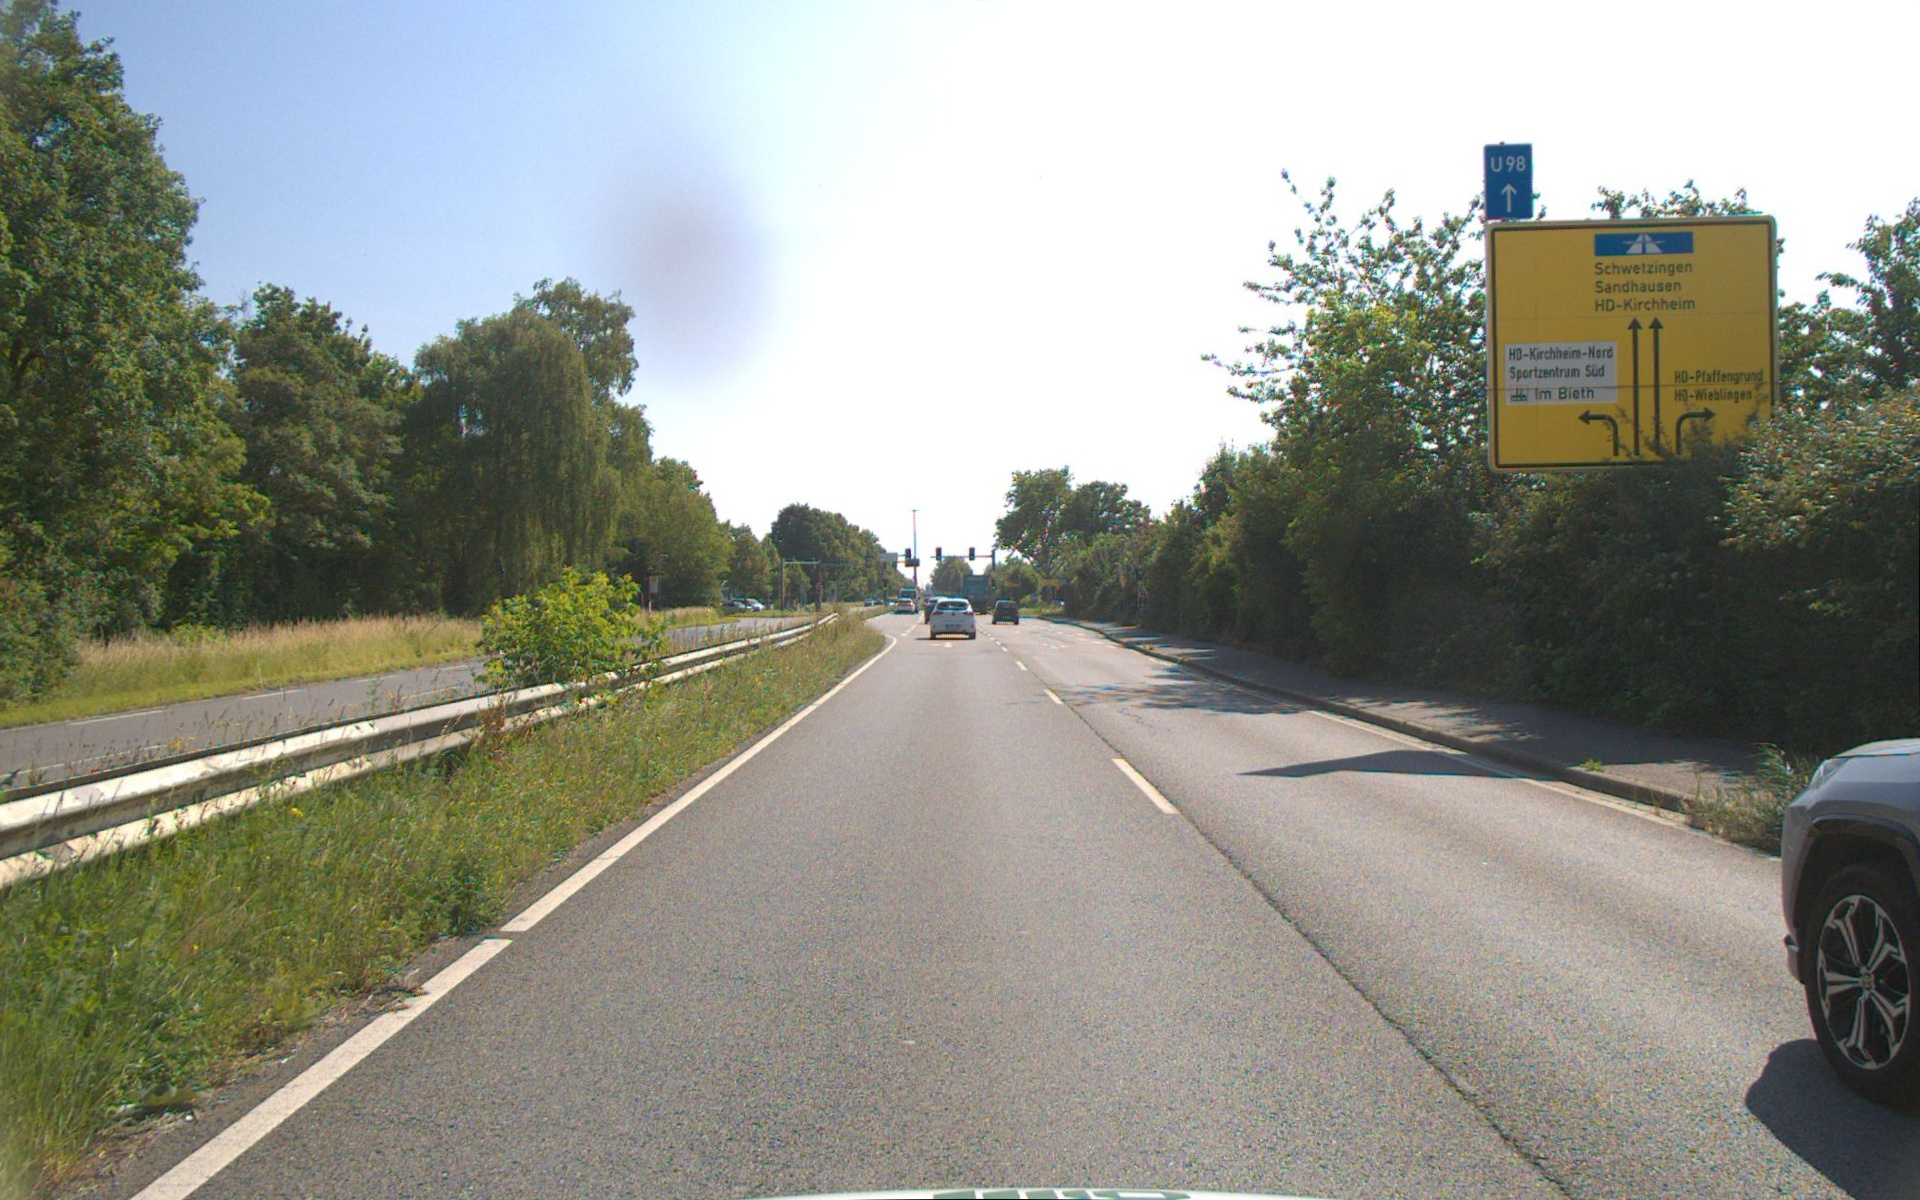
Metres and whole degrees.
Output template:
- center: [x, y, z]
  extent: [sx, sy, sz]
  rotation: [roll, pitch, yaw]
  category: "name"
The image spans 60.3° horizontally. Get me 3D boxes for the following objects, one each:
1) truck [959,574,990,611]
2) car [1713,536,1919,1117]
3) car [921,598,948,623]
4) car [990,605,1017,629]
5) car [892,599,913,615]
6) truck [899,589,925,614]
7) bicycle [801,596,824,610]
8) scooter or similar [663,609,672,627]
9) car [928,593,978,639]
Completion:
- center: [1.369, -0.706, 161.617]
  extent: [2.833, 3.488, 9.167]
  rotation: [-1, 0, -1]
  category: "truck"
- center: [3.786, 0.687, 3.837]
  extent: [1.863, 1.709, 4.682]
  rotation: [1, 0, -1]
  category: "car"
- center: [-1.505, 0.622, 96.907]
  extent: [1.540, 1.439, 3.276]
  rotation: [1, -1, -1]
  category: "car"
- center: [2.681, 1.076, 102.025]
  extent: [1.540, 1.439, 3.277]
  rotation: [0, -1, -1]
  category: "car"
- center: [-5.434, 0.672, 156.435]
  extent: [1.775, 1.490, 4.971]
  rotation: [1, 0, 0]
  category: "car"
- center: [-4.754, 0.144, 163.856]
  extent: [2.325, 2.430, 6.041]
  rotation: [1, 0, 0]
  category: "truck"
- center: [-18.526, 0.358, 207.589]
  extent: [2.737, 1.699, 1.135]
  rotation: [-1, 0, 26]
  category: "bicycle"
- center: [-19.644, 1.193, 111.107]
  extent: [0.360, 1.206, 1.340]
  rotation: [-2, -1, -1]
  category: "scooter or similar"
- center: [-0.264, 0.567, 61.013]
  extent: [1.762, 1.580, 4.000]
  rotation: [0, 0, 0]
  category: "car"
